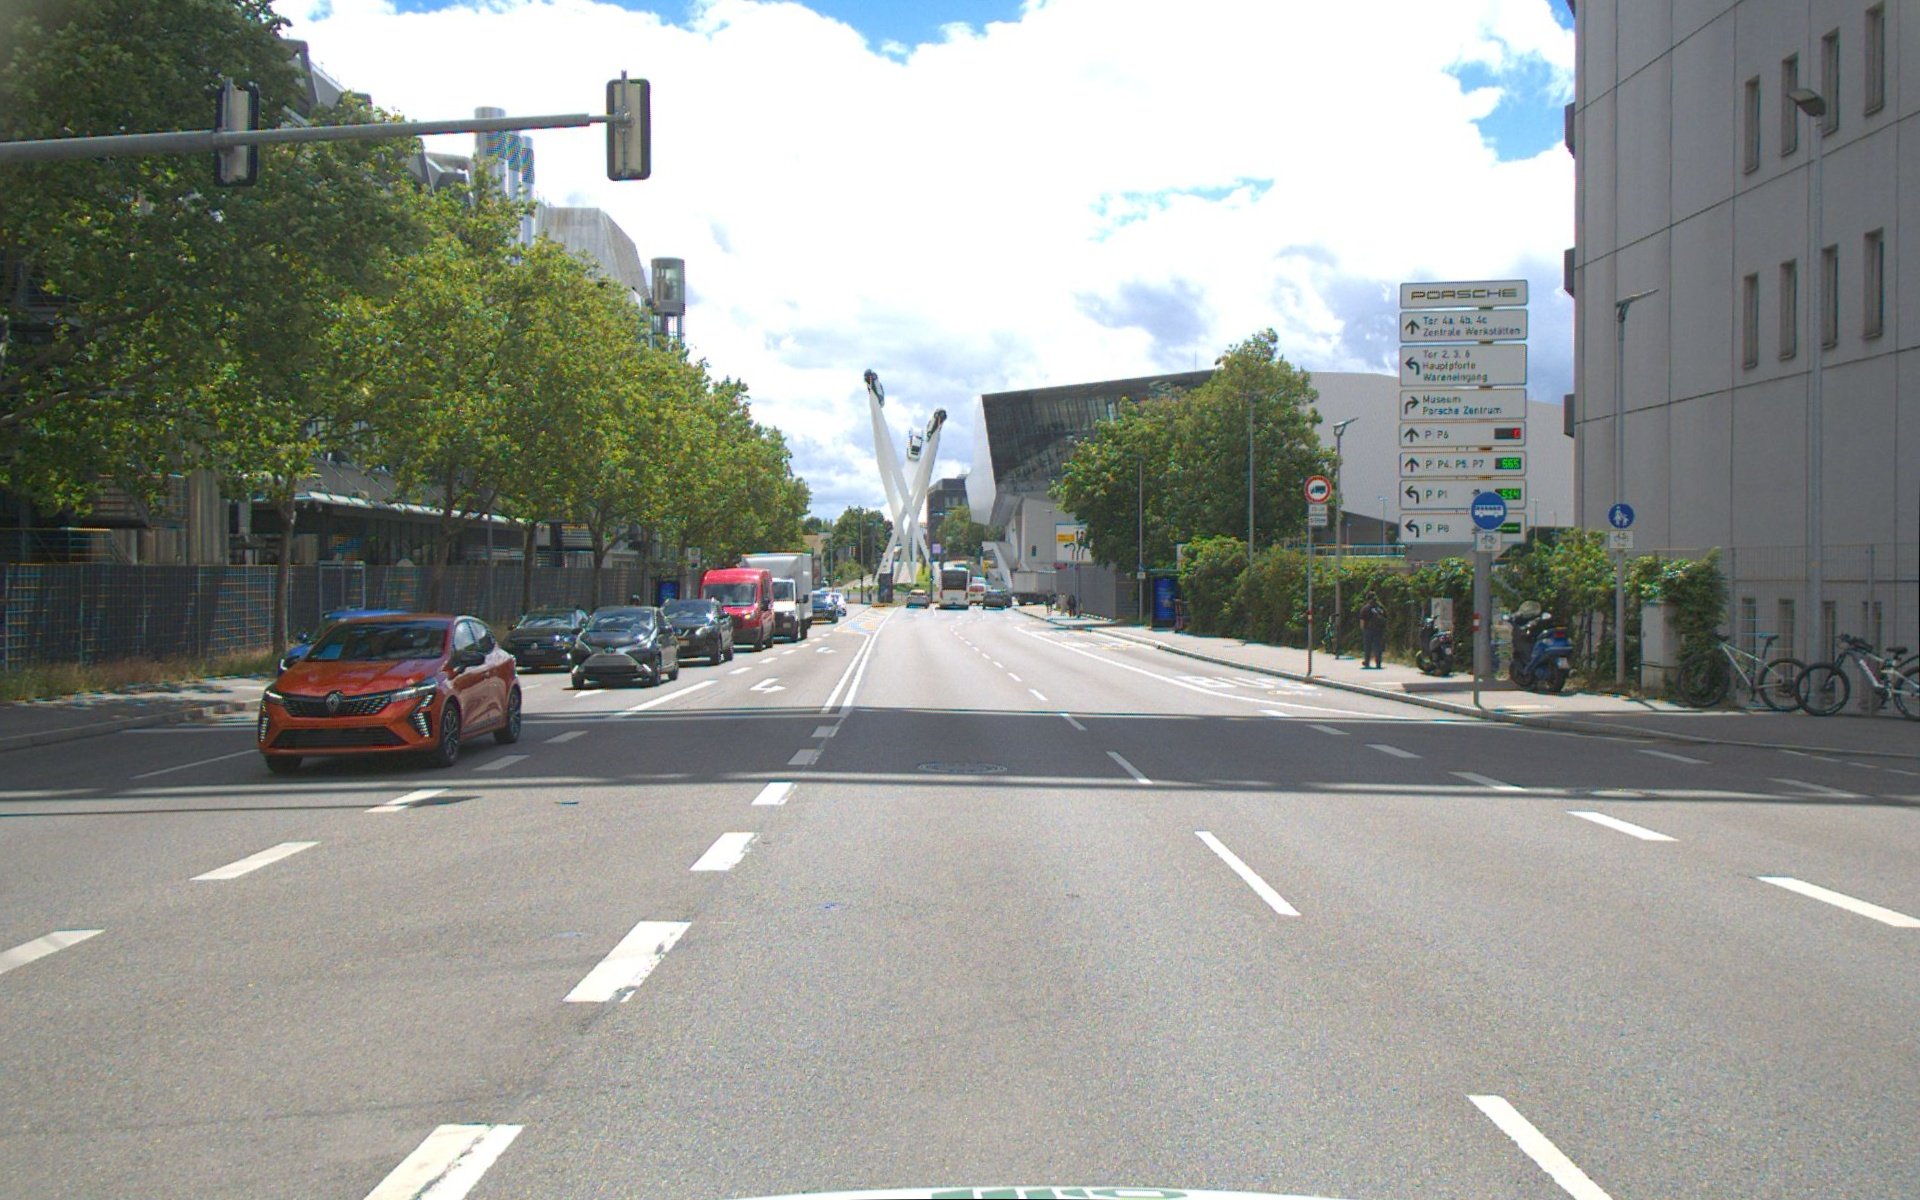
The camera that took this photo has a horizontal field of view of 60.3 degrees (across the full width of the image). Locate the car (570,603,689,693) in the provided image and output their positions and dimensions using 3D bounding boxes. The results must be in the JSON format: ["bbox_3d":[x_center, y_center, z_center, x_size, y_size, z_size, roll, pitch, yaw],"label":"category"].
[{"bbox_3d":[-6.185,0.854,31.295,1.526,1.531,3.612,-2,0,-1],"label":"car"}]

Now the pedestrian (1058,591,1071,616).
[{"bbox_3d":[7.018,0.234,111.086,0.778,1.625,0.731,1,-1,-2],"label":"pedestrian"}]

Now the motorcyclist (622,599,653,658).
[{"bbox_3d":[-9.238,0.817,47.363,0.719,1.651,1.094,1,0,-4],"label":"motorcyclist"}]

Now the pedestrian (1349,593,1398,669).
[{"bbox_3d":[9.379,0.690,37.535,0.793,1.673,0.997,-2,0,-3],"label":"pedestrian"}]

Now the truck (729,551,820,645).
[{"bbox_3d":[-6.659,-0.040,60.338,2.402,3.183,7.243,1,0,1],"label":"truck"}]

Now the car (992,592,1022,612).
[{"bbox_3d":[4.199,0.176,147.633,1.951,1.665,4.003,1,0,11],"label":"car"}]

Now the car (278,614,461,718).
[{"bbox_3d":[-9.343,0.991,26.481,1.659,1.454,3.820,-1,0,-2],"label":"car"}]

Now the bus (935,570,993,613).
[{"bbox_3d":[0.454,-0.670,139.738,3.006,3.421,12.233,1,0,9],"label":"bus"}]

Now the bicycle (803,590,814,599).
[{"bbox_3d":[-21.264,-0.770,232.108,1.573,1.339,0.492,1,-1,-2],"label":"bicycle"}]

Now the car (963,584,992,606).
[{"bbox_3d":[1.712,-0.459,157.651,1.951,1.966,4.244,1,0,11],"label":"car"}]

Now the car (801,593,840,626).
[{"bbox_3d":[-7.337,0.481,87.551,1.704,1.608,4.266,-2,0,-1],"label":"car"}]

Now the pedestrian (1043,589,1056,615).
[{"bbox_3d":[5.989,0.156,111.074,0.778,1.751,0.731,1,-1,-2],"label":"pedestrian"}]

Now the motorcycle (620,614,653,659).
[{"bbox_3d":[-9.269,1.028,47.424,0.661,1.241,2.374,1,0,-5],"label":"motorcycle"}]

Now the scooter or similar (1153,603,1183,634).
[{"bbox_3d":[8.284,0.743,65.849,0.530,1.183,2.126,-1,0,25],"label":"scooter or similar"}]

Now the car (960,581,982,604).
[{"bbox_3d":[1.118,-0.764,171.207,1.951,2.209,4.658,1,0,4],"label":"car"}]

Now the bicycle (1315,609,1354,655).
[{"bbox_3d":[10.138,0.847,44.818,0.434,1.200,2.468,1,0,-1],"label":"bicycle"}]

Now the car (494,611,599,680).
[{"bbox_3d":[-9.635,1.024,38.764,1.545,1.453,3.918,-2,0,-2],"label":"car"}]

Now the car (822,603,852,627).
[{"bbox_3d":[-7.928,0.966,106.888,1.657,1.439,4.145,-2,0,-1],"label":"car"}]

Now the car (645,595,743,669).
[{"bbox_3d":[-6.504,0.756,40.808,1.700,1.713,4.213,1,0,0],"label":"car"}]

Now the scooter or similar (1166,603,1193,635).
[{"bbox_3d":[8.643,0.734,65.031,0.530,1.183,1.791,-1,0,25],"label":"scooter or similar"}]

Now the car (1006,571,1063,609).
[{"bbox_3d":[7.398,-0.937,163.322,3.265,3.565,9.346,1,0,17],"label":"car"}]

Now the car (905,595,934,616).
[{"bbox_3d":[-3.300,0.420,135.697,1.952,1.665,4.002,1,0,4],"label":"car"}]

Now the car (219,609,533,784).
[{"bbox_3d":[-5.689,0.862,16.640,1.847,1.479,3.901,-2,0,-2],"label":"car"}]

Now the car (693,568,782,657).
[{"bbox_3d":[-6.808,0.340,51.158,2.021,2.551,5.479,-2,0,-1],"label":"car"}]

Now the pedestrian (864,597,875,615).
[{"bbox_3d":[-8.834,0.588,161.241,0.849,1.805,1.031,1,-1,-15],"label":"pedestrian"}]

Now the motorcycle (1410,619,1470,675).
[{"bbox_3d":[9.914,0.957,34.222,0.579,1.086,2.036,-1,0,-1],"label":"motorcycle"}]

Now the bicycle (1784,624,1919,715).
[{"bbox_3d":[12.049,0.915,22.065,1.848,1.147,0.544,0,1,34],"label":"bicycle"}]

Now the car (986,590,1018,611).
[{"bbox_3d":[3.565,0.054,139.676,1.951,1.665,4.004,1,1,11],"label":"car"}]

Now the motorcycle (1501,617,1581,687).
[{"bbox_3d":[9.938,0.871,28.354,0.579,1.086,2.037,-2,0,-1],"label":"motorcycle"}]

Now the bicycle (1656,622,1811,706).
[{"bbox_3d":[11.057,0.911,23.662,1.929,1.147,0.544,-2,1,34],"label":"bicycle"}]
